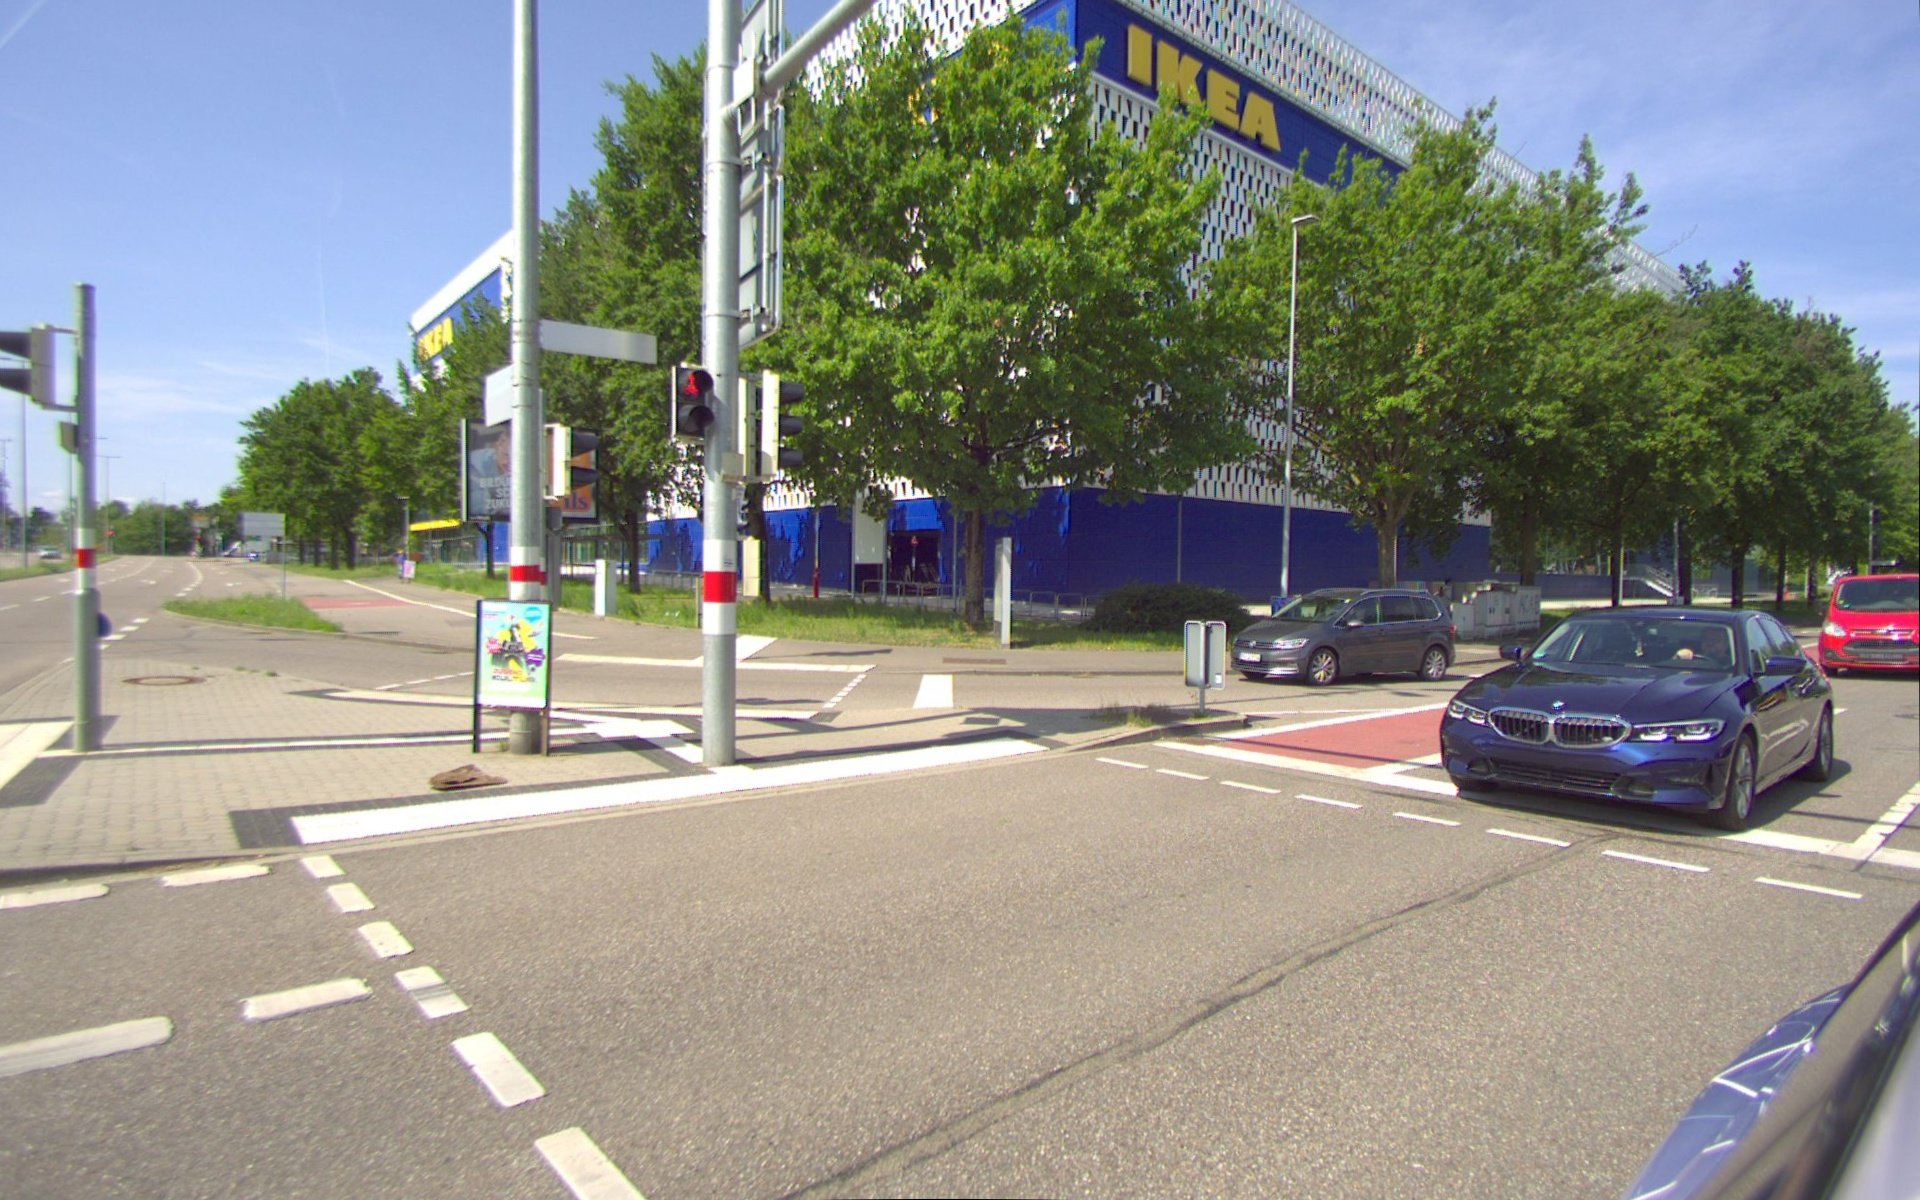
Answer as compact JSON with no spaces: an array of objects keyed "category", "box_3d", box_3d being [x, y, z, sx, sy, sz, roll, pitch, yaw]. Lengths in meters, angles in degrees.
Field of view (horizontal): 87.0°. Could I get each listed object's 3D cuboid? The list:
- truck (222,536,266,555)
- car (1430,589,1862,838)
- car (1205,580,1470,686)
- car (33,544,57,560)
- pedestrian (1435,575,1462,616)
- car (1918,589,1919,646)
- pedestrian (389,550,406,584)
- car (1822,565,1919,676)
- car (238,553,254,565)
[{"category":"truck","box_3d":[-120.593,-9.160,170.575,5.873,3.066,1.997,-2,0,-41]},{"category":"car","box_3d":[5.630,0.658,8.061,4.459,1.447,1.798,0,0,-41]},{"category":"car","box_3d":[6.765,0.495,18.139,4.300,1.675,2.004,-1,2,-25]},{"category":"car","box_3d":[-107.426,-5.658,118.847,1.850,1.704,3.999,-1,4,-38]},{"category":"pedestrian","box_3d":[18.981,-0.193,39.300,0.767,1.565,0.680,-1,2,-40]},{"category":"car","box_3d":[26.261,0.416,26.287,3.848,1.440,1.690,-1,0,-42]},{"category":"pedestrian","box_3d":[-33.875,-1.975,60.926,0.597,2.039,0.673,-2,0,36]},{"category":"car","box_3d":[18.245,0.324,19.353,4.726,1.931,2.012,-1,0,-41]},{"category":"car","box_3d":[-94.740,-5.378,134.226,1.610,1.554,3.915,-1,2,-37]}]
